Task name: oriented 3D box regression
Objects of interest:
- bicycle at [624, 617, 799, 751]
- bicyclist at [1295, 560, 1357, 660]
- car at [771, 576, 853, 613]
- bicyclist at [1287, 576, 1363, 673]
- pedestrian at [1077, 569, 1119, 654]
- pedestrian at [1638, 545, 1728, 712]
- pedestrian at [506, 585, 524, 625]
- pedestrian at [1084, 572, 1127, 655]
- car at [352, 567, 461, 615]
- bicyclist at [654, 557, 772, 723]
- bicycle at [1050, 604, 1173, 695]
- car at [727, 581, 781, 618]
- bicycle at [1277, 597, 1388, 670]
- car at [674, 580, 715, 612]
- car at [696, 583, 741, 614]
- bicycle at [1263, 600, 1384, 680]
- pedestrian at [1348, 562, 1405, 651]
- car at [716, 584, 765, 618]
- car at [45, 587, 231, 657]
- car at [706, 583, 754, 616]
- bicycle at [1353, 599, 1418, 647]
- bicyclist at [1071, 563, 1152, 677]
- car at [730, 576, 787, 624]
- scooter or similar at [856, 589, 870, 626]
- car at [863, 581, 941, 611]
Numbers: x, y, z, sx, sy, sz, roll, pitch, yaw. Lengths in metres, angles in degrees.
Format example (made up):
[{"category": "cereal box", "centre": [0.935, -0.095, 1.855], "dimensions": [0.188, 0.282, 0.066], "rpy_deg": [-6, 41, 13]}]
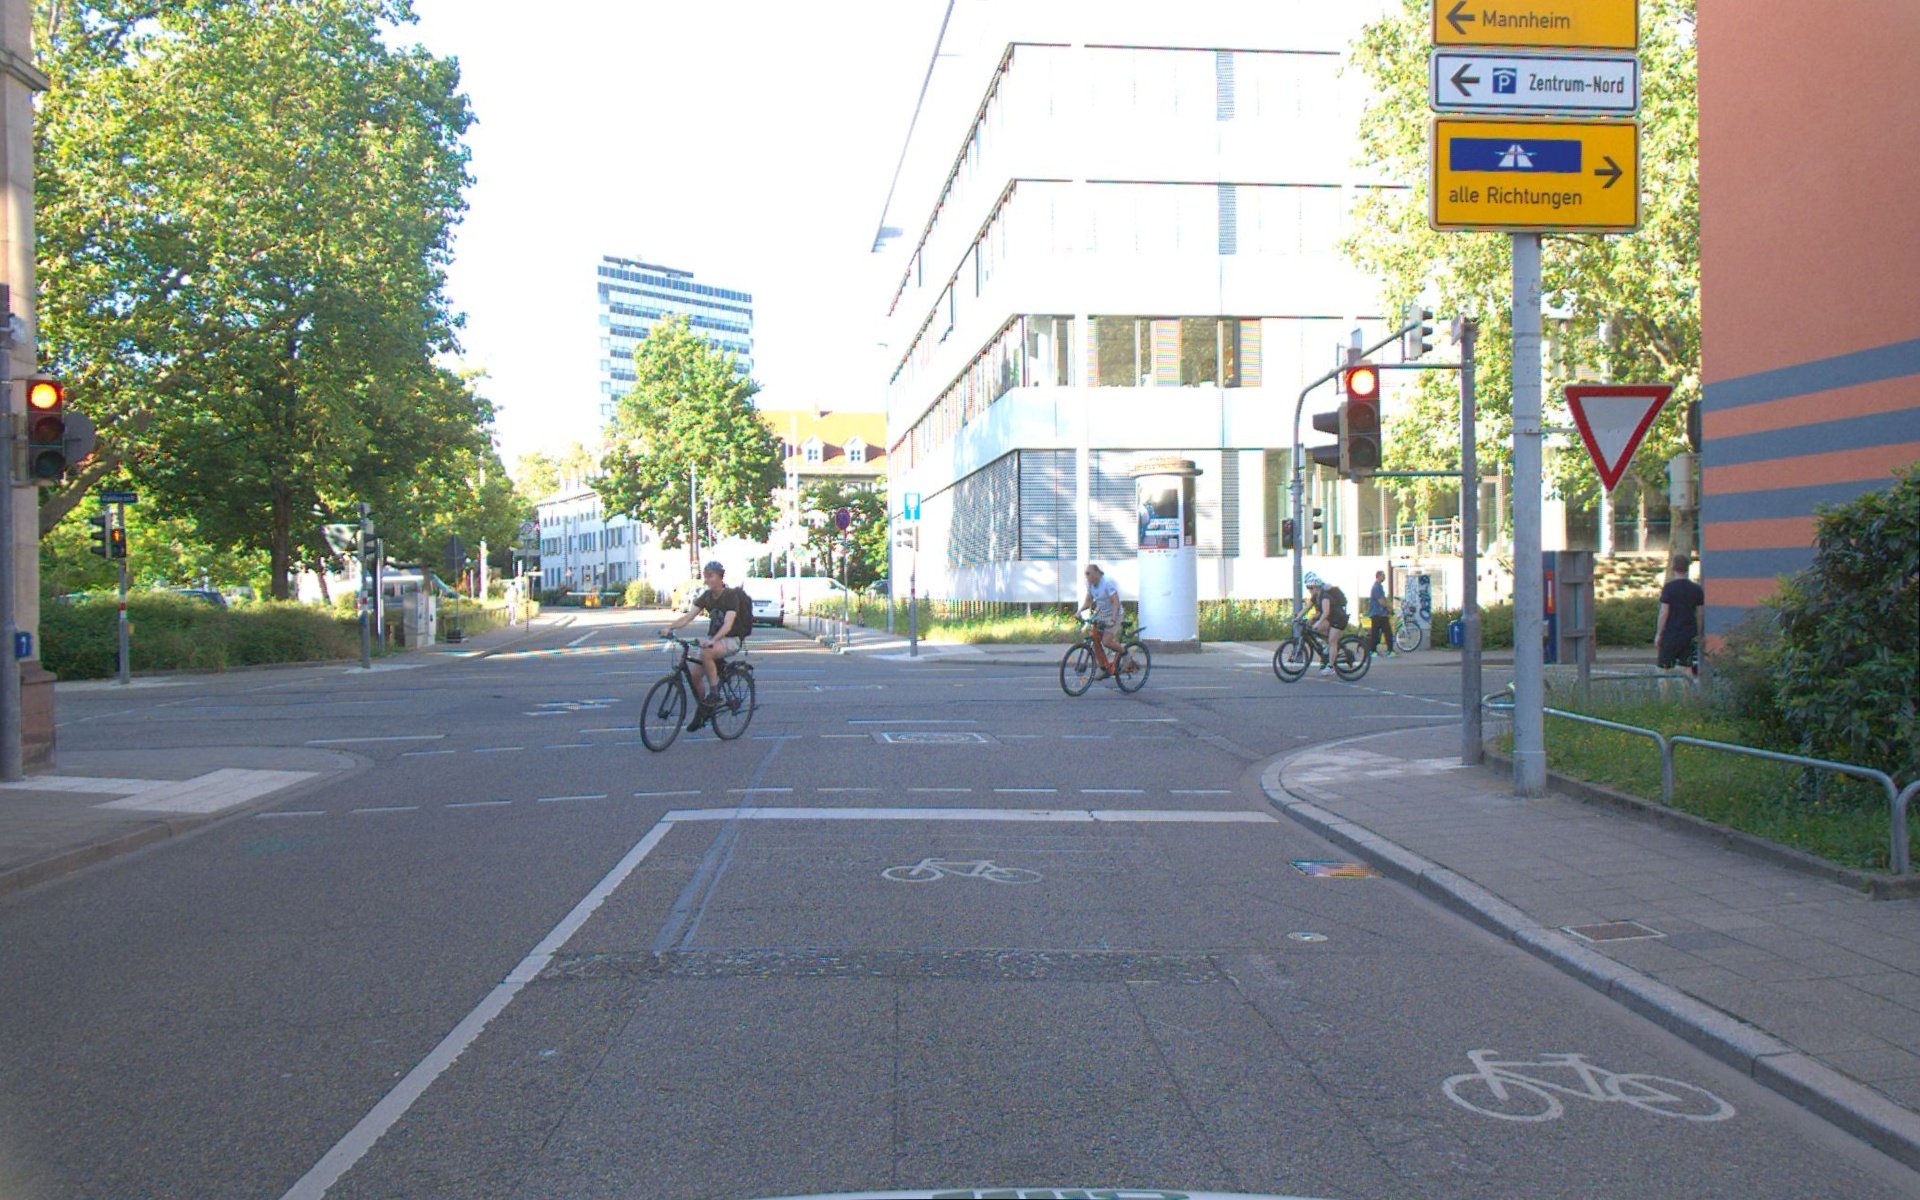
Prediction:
[{"category": "bicycle", "centre": [-2.380, 0.775, 16.089], "dimensions": [0.579, 1.172, 1.966], "rpy_deg": [-1, 0, 30]}, {"category": "bicyclist", "centre": [6.188, 0.169, 27.944], "dimensions": [0.810, 1.657, 0.624], "rpy_deg": [-1, 0, -18]}, {"category": "car", "centre": [-9.195, -0.356, 102.801], "dimensions": [4.718, 2.196, 1.990], "rpy_deg": [1, 0, -18]}, {"category": "bicyclist", "centre": [5.641, 0.369, 25.589], "dimensions": [0.956, 1.471, 0.624], "rpy_deg": [-1, 0, -18]}, {"category": "pedestrian", "centre": [3.020, 0.251, 36.192], "dimensions": [0.749, 1.826, 0.648], "rpy_deg": [1, -1, 20]}, {"category": "pedestrian", "centre": [8.188, 0.318, 18.722], "dimensions": [0.713, 1.842, 0.691], "rpy_deg": [1, -1, -42]}, {"category": "pedestrian", "centre": [-18.070, 0.208, 67.127], "dimensions": [0.688, 1.614, 0.634], "rpy_deg": [1, -1, -16]}, {"category": "pedestrian", "centre": [3.101, 0.290, 35.313], "dimensions": [0.749, 1.749, 0.648], "rpy_deg": [1, -1, 20]}, {"category": "car", "centre": [-24.957, -0.393, 74.685], "dimensions": [4.363, 2.049, 1.995], "rpy_deg": [1, 0, -10]}, {"category": "bicyclist", "centre": [-2.393, 0.366, 16.096], "dimensions": [0.579, 1.554, 1.077], "rpy_deg": [-1, 0, 30]}, {"category": "bicycle", "centre": [2.122, 0.661, 22.985], "dimensions": [0.617, 1.172, 1.957], "rpy_deg": [-1, 1, 44]}, {"category": "car", "centre": [-8.863, -0.024, 70.905], "dimensions": [1.958, 1.525, 4.639], "rpy_deg": [1, 0, -11]}, {"category": "bicycle", "centre": [6.300, 0.559, 27.974], "dimensions": [1.750, 1.172, 0.624], "rpy_deg": [-1, 0, -18]}, {"category": "car", "centre": [-15.378, -0.217, 95.608], "dimensions": [1.960, 1.755, 4.635], "rpy_deg": [1, 0, -14]}, {"category": "car", "centre": [-12.546, -0.056, 85.793], "dimensions": [1.959, 1.525, 4.637], "rpy_deg": [1, 0, -13]}, {"category": "bicycle", "centre": [5.629, 0.606, 25.596], "dimensions": [1.750, 1.172, 0.624], "rpy_deg": [-1, 0, -18]}, {"category": "pedestrian", "centre": [8.805, 0.141, 34.957], "dimensions": [0.756, 1.847, 0.902], "rpy_deg": [1, -1, -43]}, {"category": "car", "centre": [-10.189, 0.054, 76.656], "dimensions": [1.958, 1.525, 4.639], "rpy_deg": [1, 0, -11]}, {"category": "car", "centre": [-18.361, 0.481, 37.068], "dimensions": [3.347, 1.483, 1.646], "rpy_deg": [1, 0, -11]}, {"category": "car", "centre": [-11.302, -0.014, 81.087], "dimensions": [1.959, 1.525, 4.272], "rpy_deg": [1, 0, -13]}, {"category": "bicycle", "centre": [9.329, 0.502, 36.286], "dimensions": [0.376, 1.026, 1.410], "rpy_deg": [-1, 0, -42]}, {"category": "bicyclist", "centre": [2.112, 0.265, 22.993], "dimensions": [0.692, 1.549, 0.912], "rpy_deg": [-1, 0, 44]}, {"category": "car", "centre": [-7.911, 0.010, 64.706], "dimensions": [1.957, 1.755, 4.641], "rpy_deg": [1, 0, -10]}, {"category": "scooter or similar", "centre": [-3.423, 0.262, 58.239], "dimensions": [0.429, 1.278, 1.418], "rpy_deg": [-1, 0, -5]}, {"category": "car", "centre": [-3.670, -0.240, 104.727], "dimensions": [4.563, 1.755, 1.991], "rpy_deg": [1, 0, -17]}]
